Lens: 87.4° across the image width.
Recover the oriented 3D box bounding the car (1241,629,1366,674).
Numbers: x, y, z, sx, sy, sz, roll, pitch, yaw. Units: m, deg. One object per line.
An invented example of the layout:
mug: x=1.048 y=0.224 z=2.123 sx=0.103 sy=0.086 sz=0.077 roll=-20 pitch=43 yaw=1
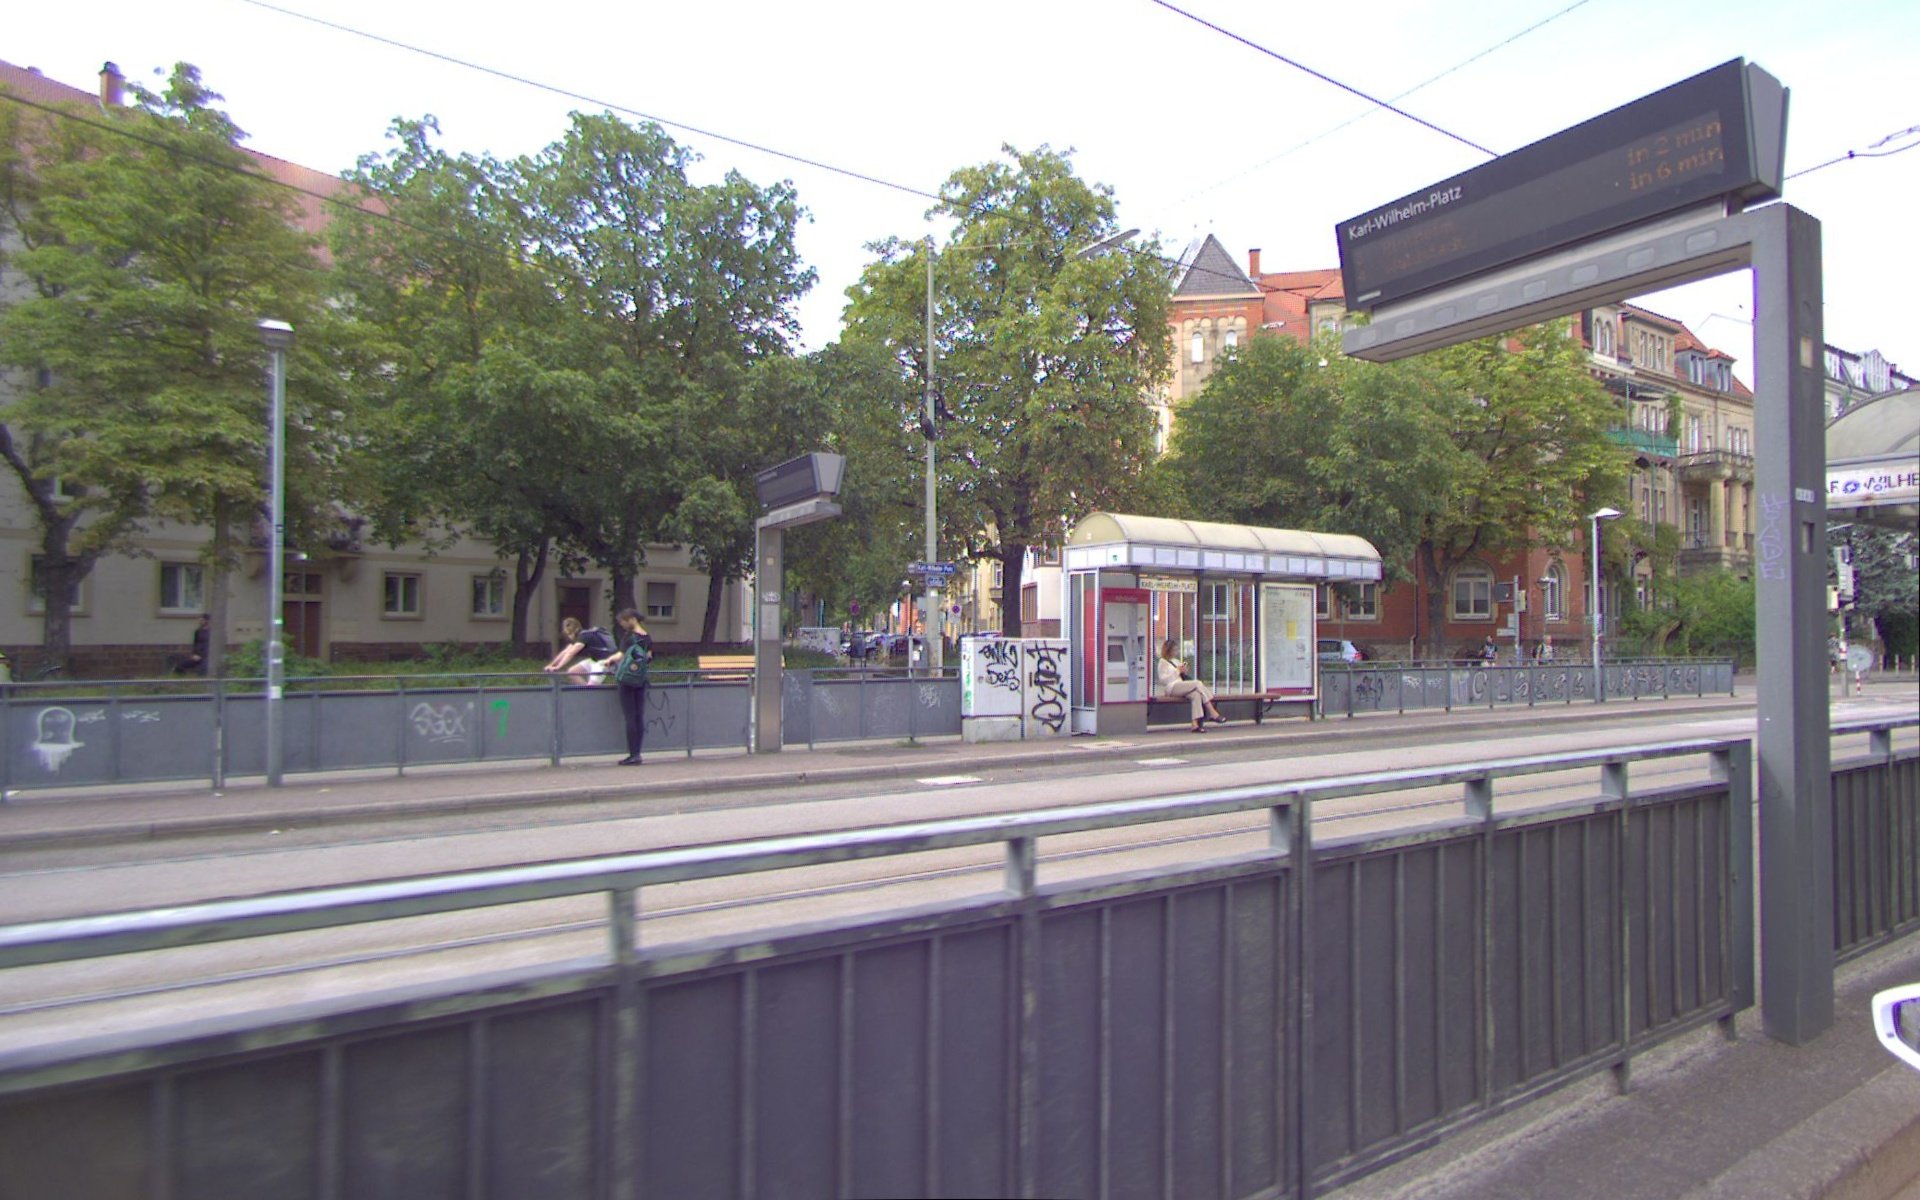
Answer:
car: x=12.640 y=1.868 z=37.206 sx=4.261 sy=1.599 sz=2.213 roll=0 pitch=-2 yaw=18

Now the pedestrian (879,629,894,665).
pedestrian: x=-3.598 y=2.294 z=49.041 sx=0.671 sy=1.777 sz=0.731 roll=0 pitch=-2 yaw=-10

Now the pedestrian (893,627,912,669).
pedestrian: x=-2.513 y=2.069 z=43.601 sx=0.720 sy=1.777 sz=0.751 roll=0 pitch=-2 yaw=-13

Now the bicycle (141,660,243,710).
bicycle: x=-15.917 y=1.746 z=20.850 sx=0.598 sy=0.949 sz=1.573 roll=-1 pitch=-2 yaw=31

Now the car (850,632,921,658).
car: x=-4.298 y=2.565 z=57.391 sx=3.927 sy=1.413 sz=1.813 roll=0 pitch=-2 yaw=-9

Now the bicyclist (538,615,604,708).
bicyclist: x=-5.889 y=0.918 z=15.190 sx=0.826 sy=1.357 sz=0.657 roll=1 pitch=-2 yaw=-31

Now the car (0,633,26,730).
car: x=-18.277 y=1.320 z=16.368 sx=1.803 sy=1.743 sz=4.164 roll=1 pitch=-4 yaw=9

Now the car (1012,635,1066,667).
car: x=3.786 y=2.446 z=48.737 sx=1.782 sy=1.497 sz=3.996 roll=0 pitch=-2 yaw=-8

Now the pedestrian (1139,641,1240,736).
pedestrian: x=3.320 y=1.247 z=14.566 sx=0.976 sy=1.310 sz=1.051 roll=1 pitch=-2 yaw=-36

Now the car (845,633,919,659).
car: x=-4.275 y=2.501 z=54.806 sx=3.927 sy=1.413 sz=1.813 roll=0 pitch=-2 yaw=-9

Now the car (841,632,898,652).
car: x=-6.489 y=2.972 z=71.513 sx=3.927 sy=1.413 sz=1.813 roll=0 pitch=-2 yaw=-9

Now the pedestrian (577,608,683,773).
pedestrian: x=-3.477 y=0.918 z=10.581 sx=0.835 sy=1.642 sz=0.846 roll=1 pitch=-2 yaw=-36

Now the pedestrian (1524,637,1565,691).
pedestrian: x=18.051 y=1.964 z=31.020 sx=0.738 sy=1.654 sz=0.863 roll=1 pitch=-2 yaw=-36

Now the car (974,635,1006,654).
car: x=2.227 y=3.344 z=75.738 sx=1.782 sy=1.413 sz=3.996 roll=0 pitch=-2 yaw=-8

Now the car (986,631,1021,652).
car: x=3.019 y=2.939 z=70.787 sx=1.782 sy=1.413 sz=3.996 roll=0 pitch=-2 yaw=-8

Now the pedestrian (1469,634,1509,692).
pedestrian: x=16.024 y=1.880 z=30.413 sx=0.726 sy=1.725 sz=0.827 roll=1 pitch=-2 yaw=-36

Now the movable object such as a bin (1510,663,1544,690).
movable object such as a bin: x=17.616 y=2.376 z=31.198 sx=0.616 sy=0.810 sz=0.723 roll=1 pitch=-2 yaw=-36

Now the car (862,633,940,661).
car: x=-3.134 y=2.454 z=52.615 sx=3.927 sy=1.413 sz=1.813 roll=0 pitch=-2 yaw=-9

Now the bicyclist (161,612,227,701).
bicyclist: x=-15.913 y=1.166 z=20.879 sx=0.601 sy=1.798 sz=0.909 roll=-1 pitch=-2 yaw=31

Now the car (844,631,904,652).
car: x=-5.837 y=2.822 z=67.869 sx=3.927 sy=1.413 sz=1.813 roll=0 pitch=-2 yaw=-9

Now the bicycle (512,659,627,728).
bicycle: x=-5.886 y=1.389 z=15.176 sx=1.532 sy=0.961 sz=0.657 roll=1 pitch=-2 yaw=-31

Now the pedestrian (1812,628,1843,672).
pedestrian: x=36.224 y=2.083 z=41.944 sx=0.826 sy=1.807 sz=0.727 roll=1 pitch=-2 yaw=-31
